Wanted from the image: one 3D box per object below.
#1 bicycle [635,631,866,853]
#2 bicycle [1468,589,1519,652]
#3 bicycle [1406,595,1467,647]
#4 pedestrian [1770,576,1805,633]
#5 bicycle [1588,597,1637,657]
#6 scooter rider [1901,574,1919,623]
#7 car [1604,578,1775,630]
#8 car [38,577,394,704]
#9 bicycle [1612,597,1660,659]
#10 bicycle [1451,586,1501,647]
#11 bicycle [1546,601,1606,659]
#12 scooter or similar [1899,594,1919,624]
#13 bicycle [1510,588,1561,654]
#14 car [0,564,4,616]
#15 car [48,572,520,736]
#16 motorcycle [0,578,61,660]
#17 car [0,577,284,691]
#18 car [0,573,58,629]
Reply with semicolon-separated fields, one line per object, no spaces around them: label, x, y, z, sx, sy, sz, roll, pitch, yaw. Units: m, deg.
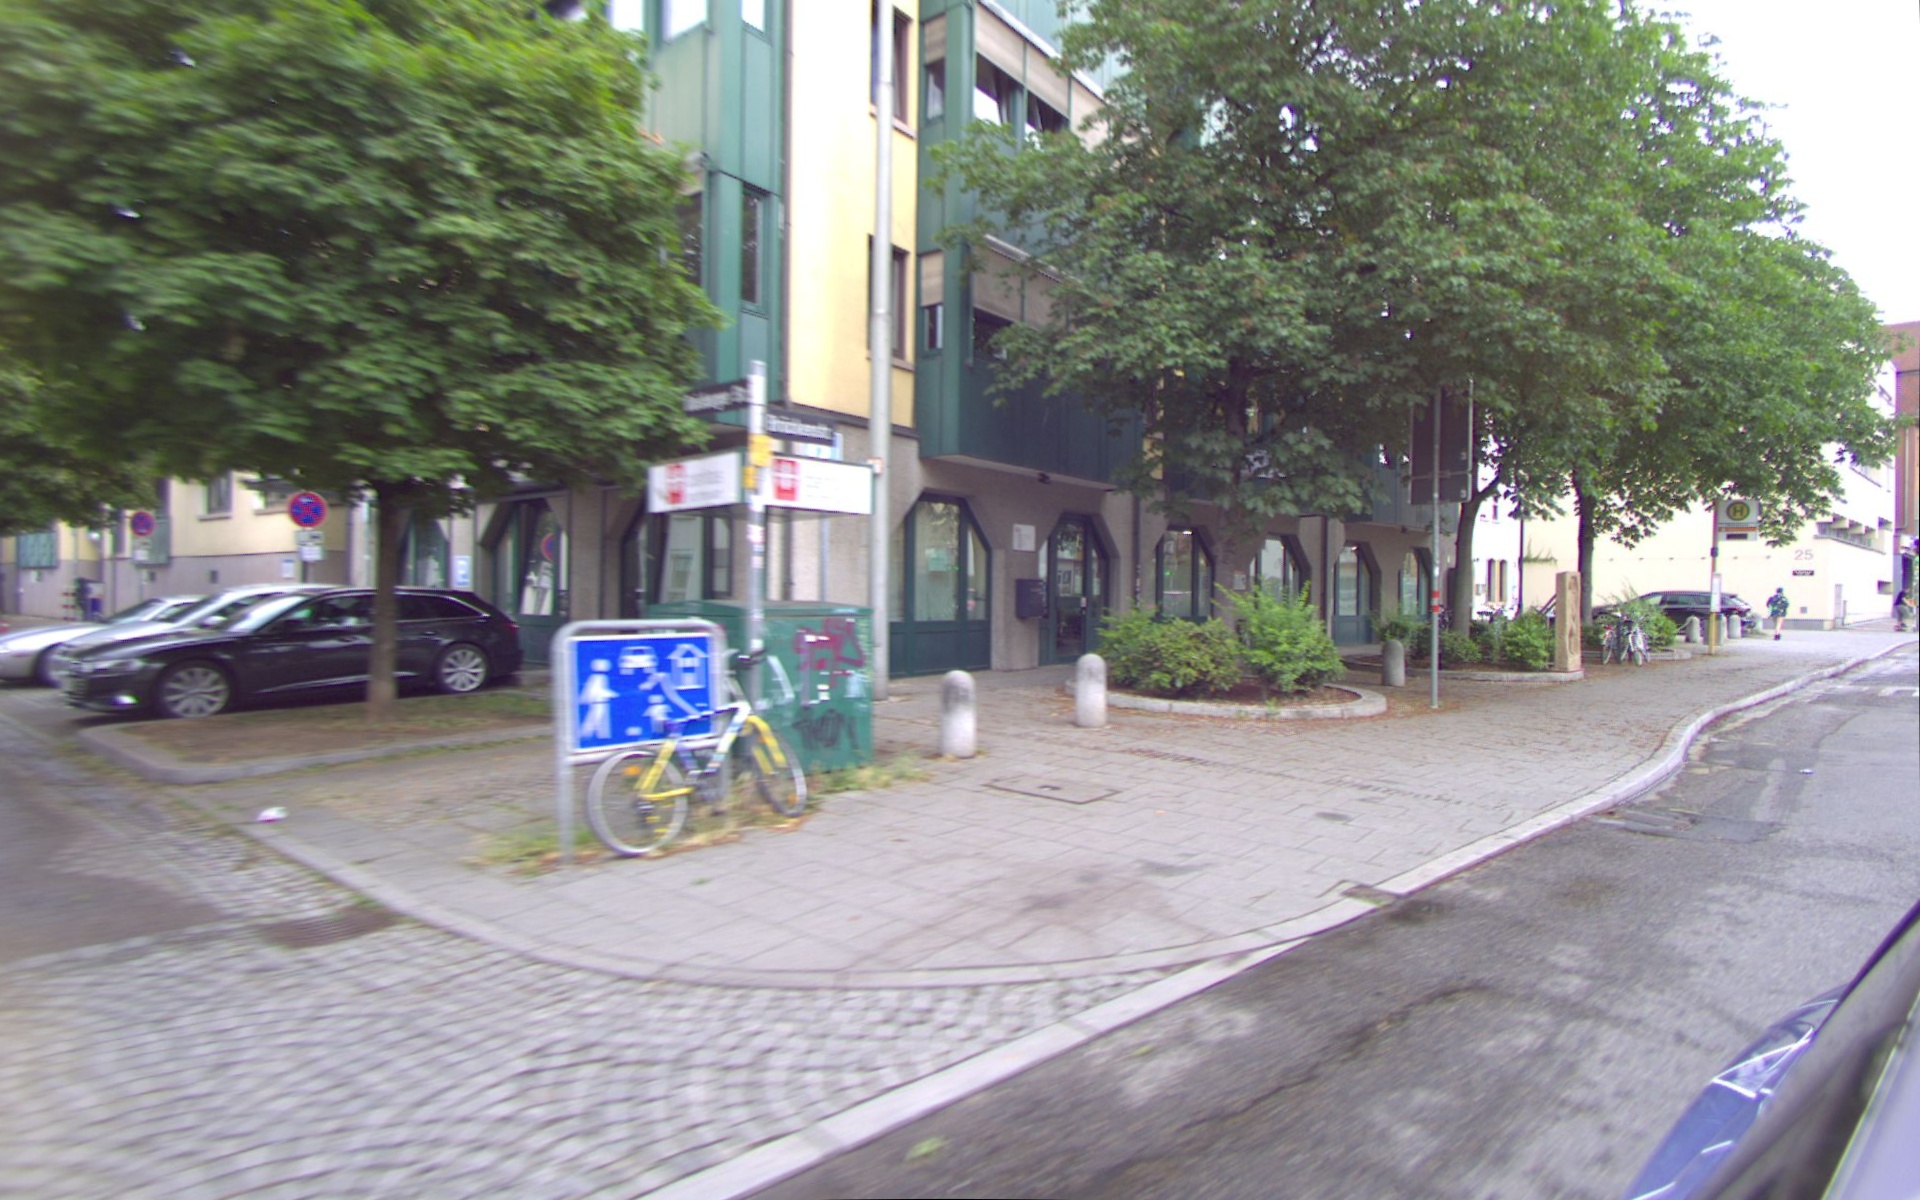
bicycle;-1.252;0.804;6.367;0.497;1.120;1.622;1;1;29
bicycle;11.747;0.428;22.258;1.925;1.317;0.333;-1;0;-42
bicycle;10.859;0.454;23.005;0.545;1.082;2.255;2;2;44
pedestrian;25.544;0.131;31.244;0.843;1.737;0.604;0;0;-33
bicycle;13.200;0.523;20.462;1.925;1.156;0.333;-1;0;-42
scooter rider;33.166;-0.055;35.208;0.451;1.651;0.499;3;4;35
car;24.616;0.079;34.277;4.511;1.593;1.824;2;2;44
car;-10.360;0.452;14.329;1.702;1.538;3.752;1;1;36
bicycle;13.529;0.539;20.236;1.925;1.155;0.333;-1;0;-42
bicycle;11.510;0.346;22.547;1.925;1.317;0.333;-1;0;-42
bicycle;12.641;0.583;20.730;0.545;1.082;2.255;2;2;44
scooter or similar;33.225;0.317;35.231;0.660;0.957;0.809;4;5;38
bicycle;12.053;0.422;21.188;1.925;1.317;0.333;-1;0;-42
car;-30.532;-0.288;29.418;1.702;1.538;3.752;1;1;36
car;-8.055;0.495;12.510;1.837;1.642;4.537;1;1;36
motorcycle;-17.214;0.326;17.862;0.747;1.441;1.925;1;1;40
car;-12.786;0.428;15.465;1.702;1.538;3.752;1;1;36
car;-27.436;0.037;27.718;1.695;1.538;3.766;1;1;27
